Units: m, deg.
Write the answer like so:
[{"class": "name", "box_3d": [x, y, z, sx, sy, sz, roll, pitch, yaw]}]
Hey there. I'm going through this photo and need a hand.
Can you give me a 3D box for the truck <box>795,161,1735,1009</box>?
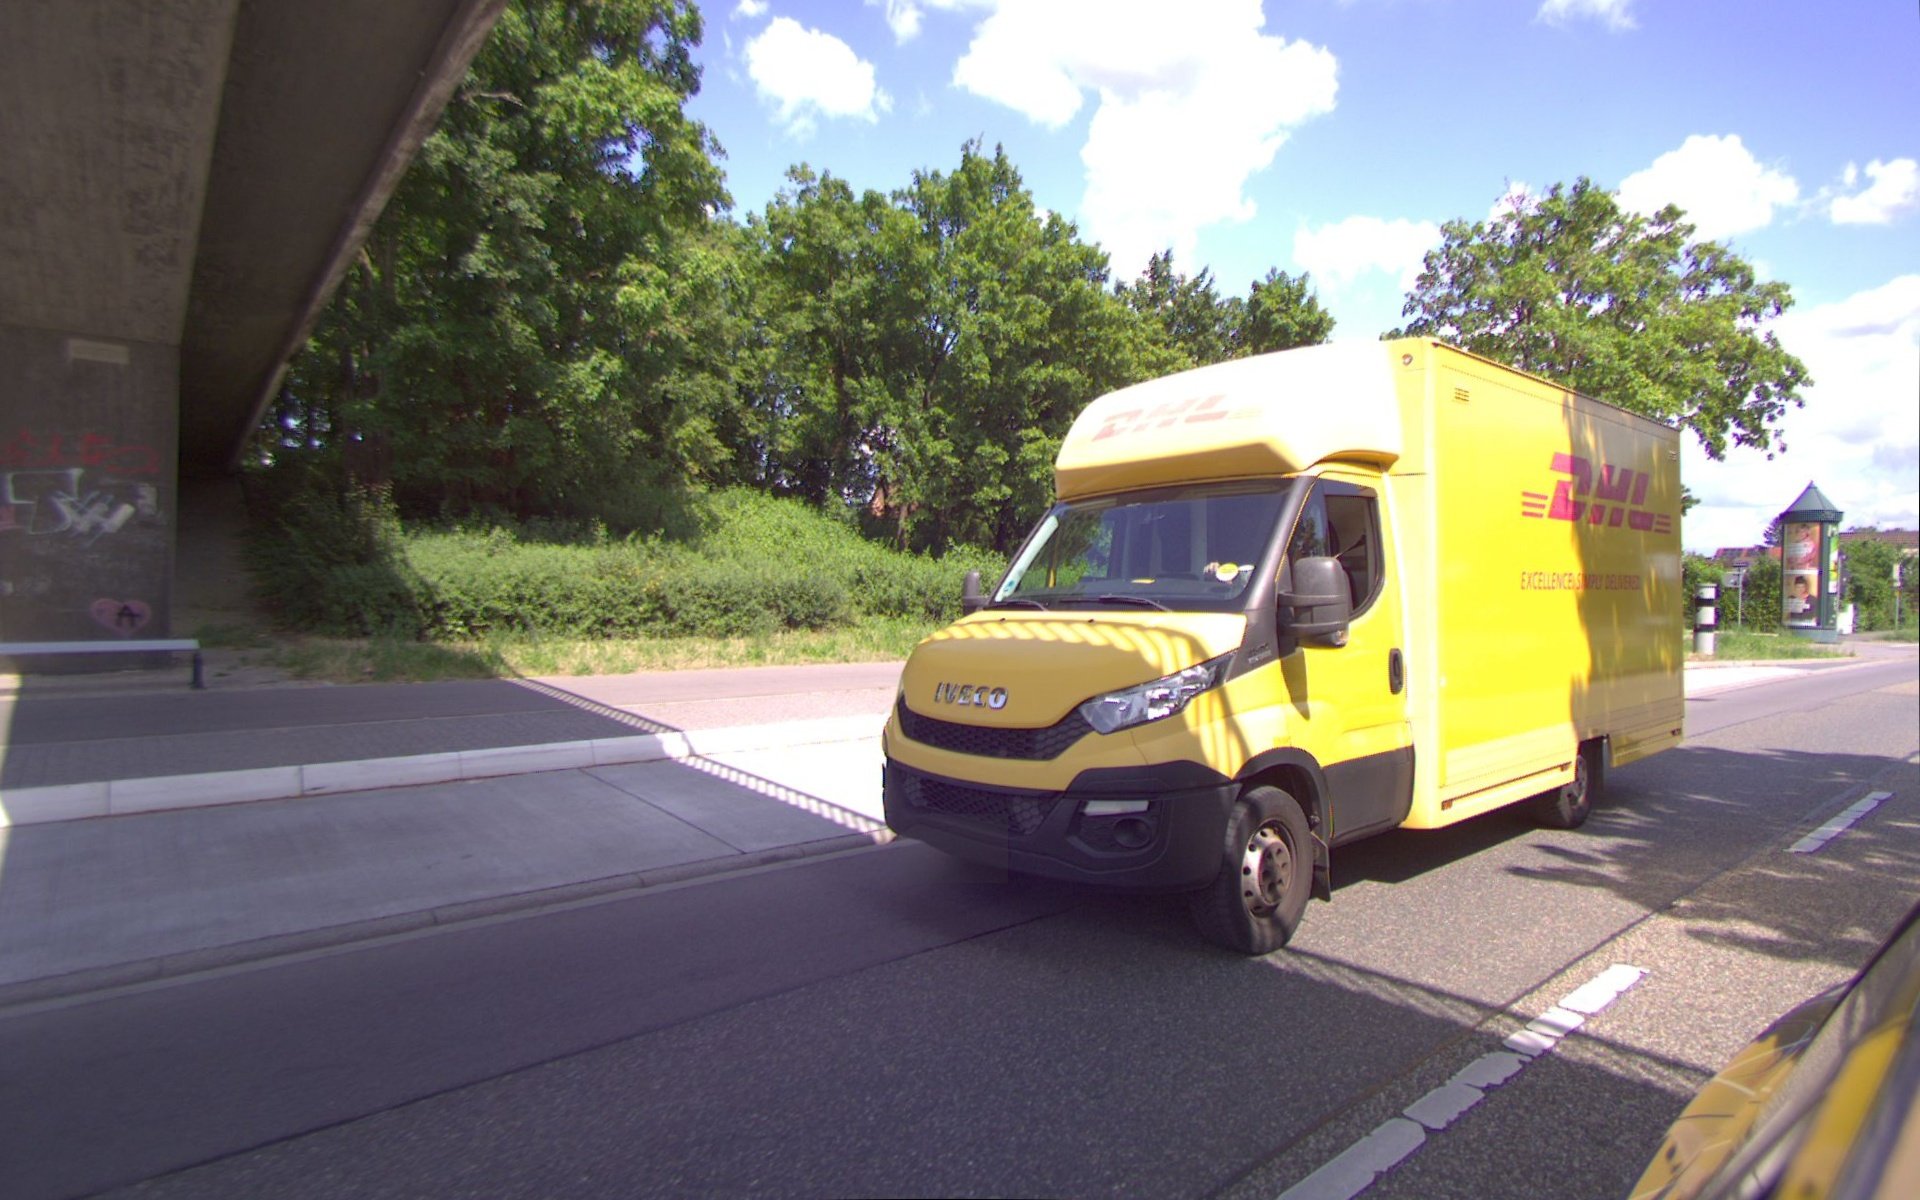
[{"class": "truck", "box_3d": [2.876, -0.039, 6.921, 7.886, 2.917, 2.269, 0, 0, -41]}]
